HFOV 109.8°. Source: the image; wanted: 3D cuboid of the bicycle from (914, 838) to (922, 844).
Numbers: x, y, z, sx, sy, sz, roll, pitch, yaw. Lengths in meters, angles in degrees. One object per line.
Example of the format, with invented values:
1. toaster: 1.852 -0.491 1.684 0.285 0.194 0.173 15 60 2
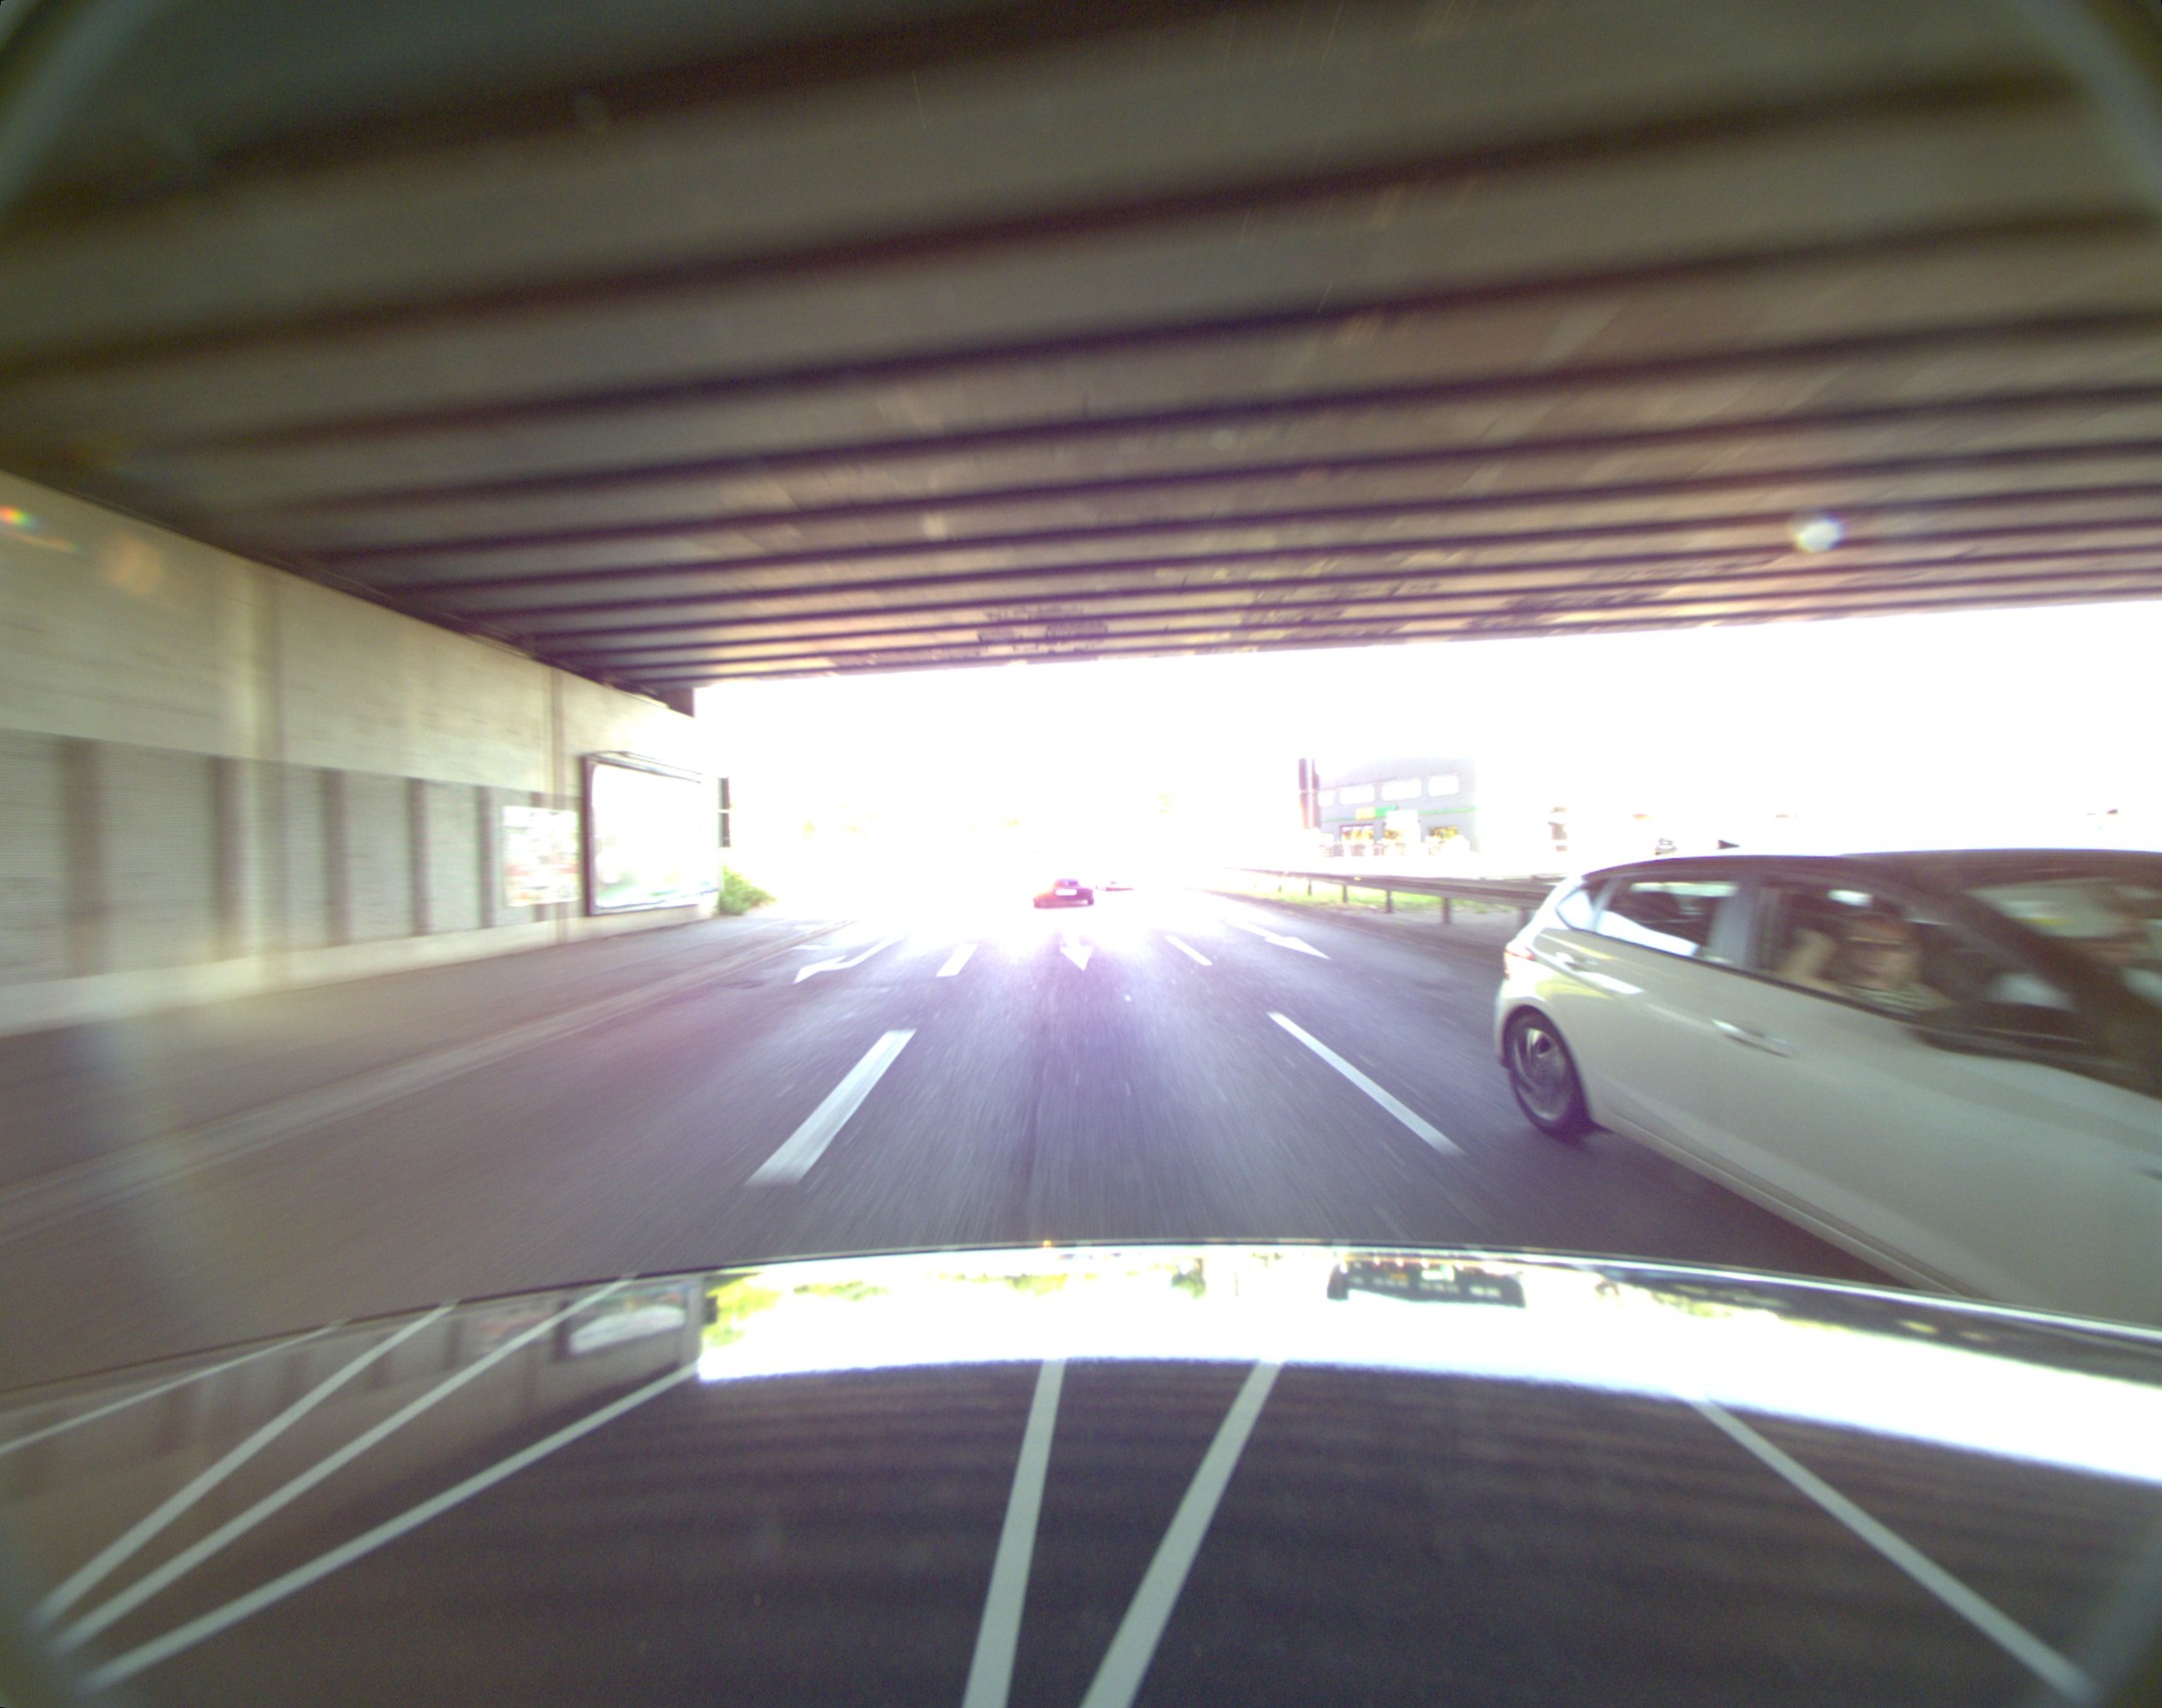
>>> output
1. bicycle: -27.113 -2.167 126.509 0.594 1.017 1.745 -4 2 -40

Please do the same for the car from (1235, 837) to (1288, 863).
1. car: 11.204 -0.239 47.335 1.624 1.511 3.820 -1 0 -15

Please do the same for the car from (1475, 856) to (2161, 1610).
1. car: 3.049 0.775 2.192 1.737 1.471 3.991 -2 0 0

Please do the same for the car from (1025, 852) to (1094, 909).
1. car: -0.600 0.694 21.648 1.738 1.412 4.318 -1 -1 -1

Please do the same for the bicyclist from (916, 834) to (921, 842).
1. bicyclist: -27.039 -2.660 126.331 0.594 1.419 0.707 -4 3 -40

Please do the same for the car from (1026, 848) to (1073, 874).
1. car: -1.977 0.391 46.539 1.858 1.471 4.223 -2 1 -16

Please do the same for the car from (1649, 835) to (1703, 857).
1. car: 38.031 -0.502 48.532 4.191 1.274 1.825 1 1 -39

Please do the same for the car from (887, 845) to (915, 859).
1. car: -19.420 -0.208 81.770 1.852 1.474 3.973 -1 -1 -29

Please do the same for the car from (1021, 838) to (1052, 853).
1. car: -5.015 -0.940 85.352 1.833 1.578 4.172 -1 1 -30

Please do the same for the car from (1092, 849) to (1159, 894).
1. car: 1.515 0.577 27.337 1.849 1.412 3.979 -1 1 -4
